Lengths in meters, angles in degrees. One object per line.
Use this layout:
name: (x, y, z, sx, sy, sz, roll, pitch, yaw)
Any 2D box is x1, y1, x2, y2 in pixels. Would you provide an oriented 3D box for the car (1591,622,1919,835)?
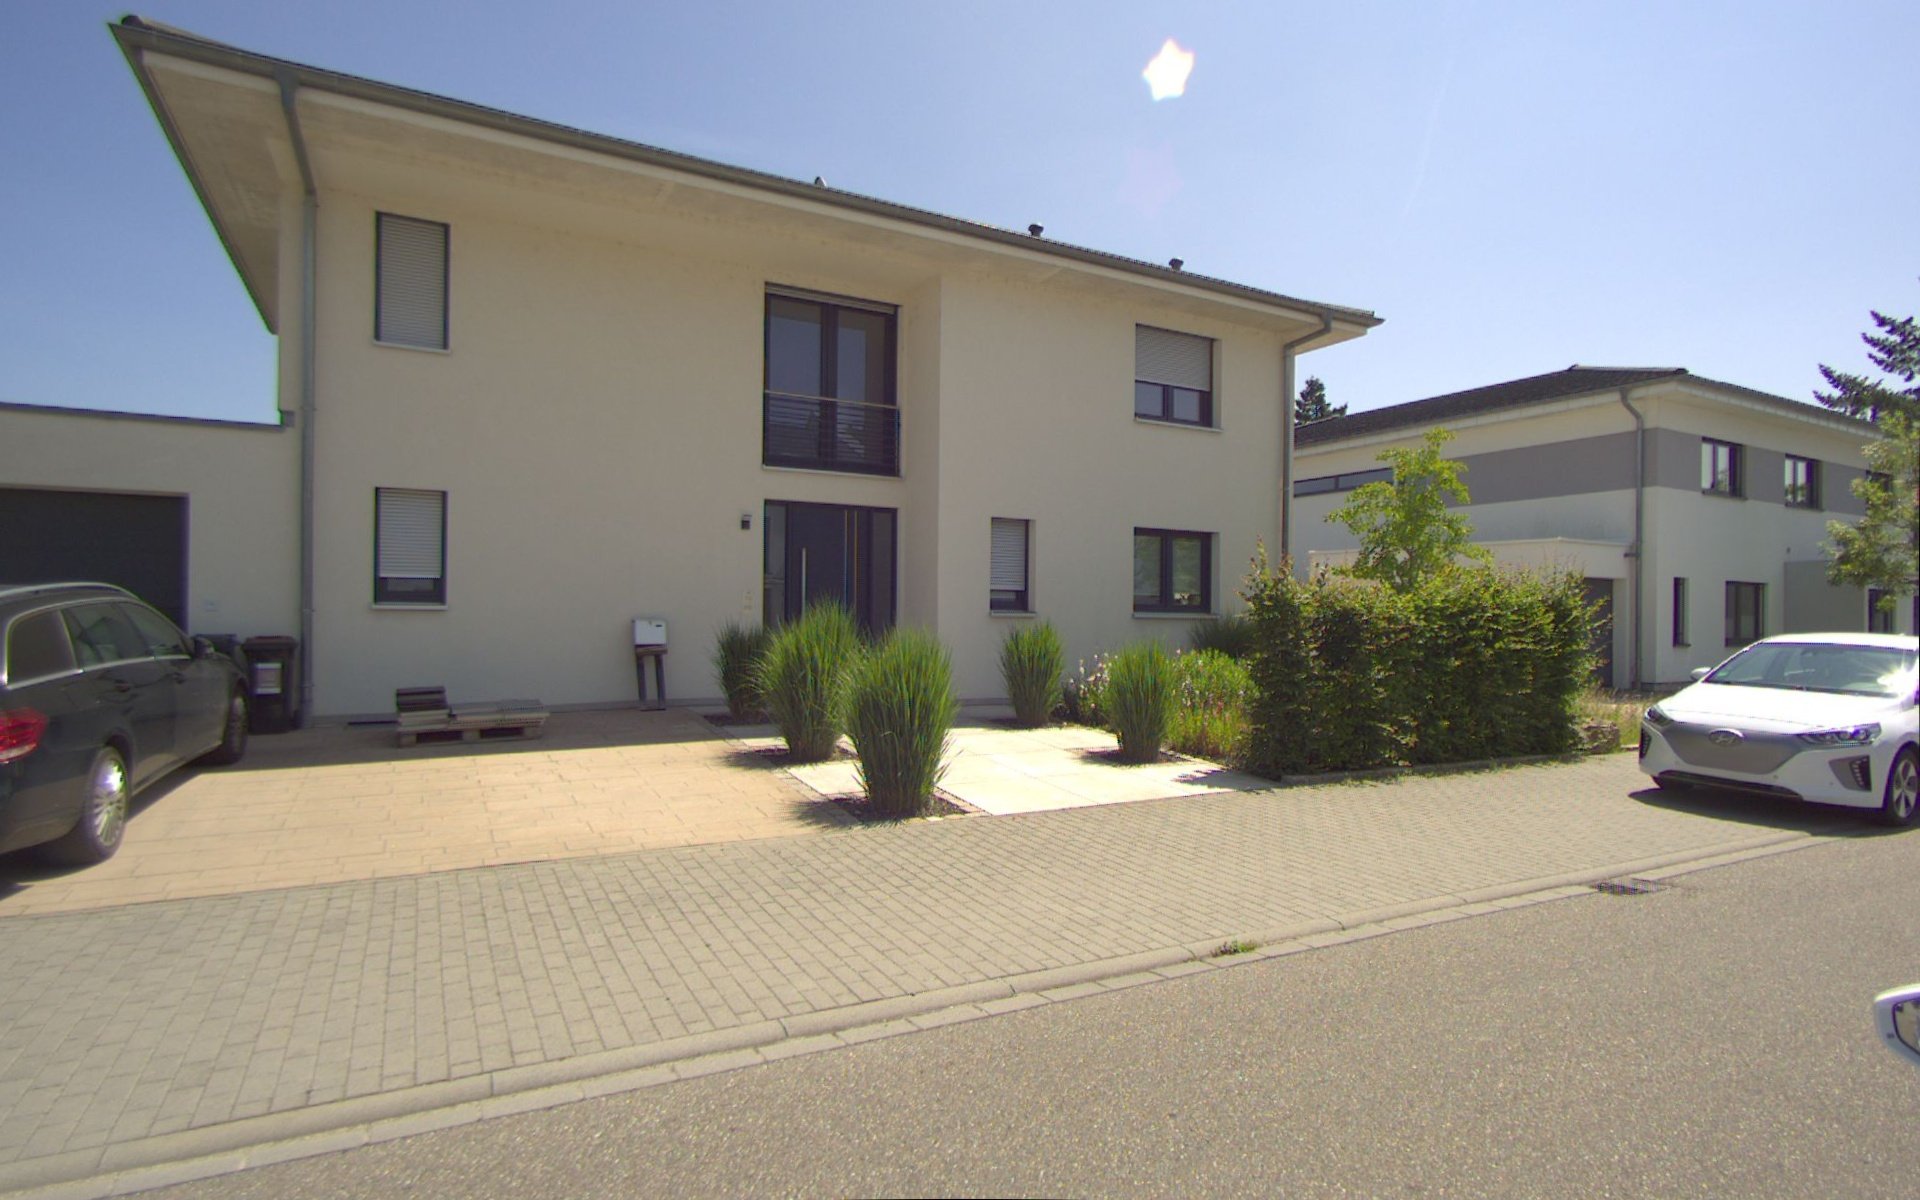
car: (7.993, 0.997, 9.200, 4.330, 1.508, 1.844, 1, 0, -28)

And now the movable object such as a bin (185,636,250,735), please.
movable object such as a bin: (-6.965, 0.790, 9.431, 0.471, 0.895, 0.308, 0, 0, -35)

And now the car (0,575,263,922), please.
car: (-5.915, 0.634, 6.225, 1.825, 1.493, 4.416, 1, 1, -24)

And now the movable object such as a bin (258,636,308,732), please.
movable object such as a bin: (-6.553, 0.803, 9.722, 0.390, 0.895, 0.183, 0, 0, -35)

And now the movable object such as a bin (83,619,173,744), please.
movable object such as a bin: (-7.536, 0.716, 9.114, 0.584, 1.088, 0.382, 0, 0, -35)
